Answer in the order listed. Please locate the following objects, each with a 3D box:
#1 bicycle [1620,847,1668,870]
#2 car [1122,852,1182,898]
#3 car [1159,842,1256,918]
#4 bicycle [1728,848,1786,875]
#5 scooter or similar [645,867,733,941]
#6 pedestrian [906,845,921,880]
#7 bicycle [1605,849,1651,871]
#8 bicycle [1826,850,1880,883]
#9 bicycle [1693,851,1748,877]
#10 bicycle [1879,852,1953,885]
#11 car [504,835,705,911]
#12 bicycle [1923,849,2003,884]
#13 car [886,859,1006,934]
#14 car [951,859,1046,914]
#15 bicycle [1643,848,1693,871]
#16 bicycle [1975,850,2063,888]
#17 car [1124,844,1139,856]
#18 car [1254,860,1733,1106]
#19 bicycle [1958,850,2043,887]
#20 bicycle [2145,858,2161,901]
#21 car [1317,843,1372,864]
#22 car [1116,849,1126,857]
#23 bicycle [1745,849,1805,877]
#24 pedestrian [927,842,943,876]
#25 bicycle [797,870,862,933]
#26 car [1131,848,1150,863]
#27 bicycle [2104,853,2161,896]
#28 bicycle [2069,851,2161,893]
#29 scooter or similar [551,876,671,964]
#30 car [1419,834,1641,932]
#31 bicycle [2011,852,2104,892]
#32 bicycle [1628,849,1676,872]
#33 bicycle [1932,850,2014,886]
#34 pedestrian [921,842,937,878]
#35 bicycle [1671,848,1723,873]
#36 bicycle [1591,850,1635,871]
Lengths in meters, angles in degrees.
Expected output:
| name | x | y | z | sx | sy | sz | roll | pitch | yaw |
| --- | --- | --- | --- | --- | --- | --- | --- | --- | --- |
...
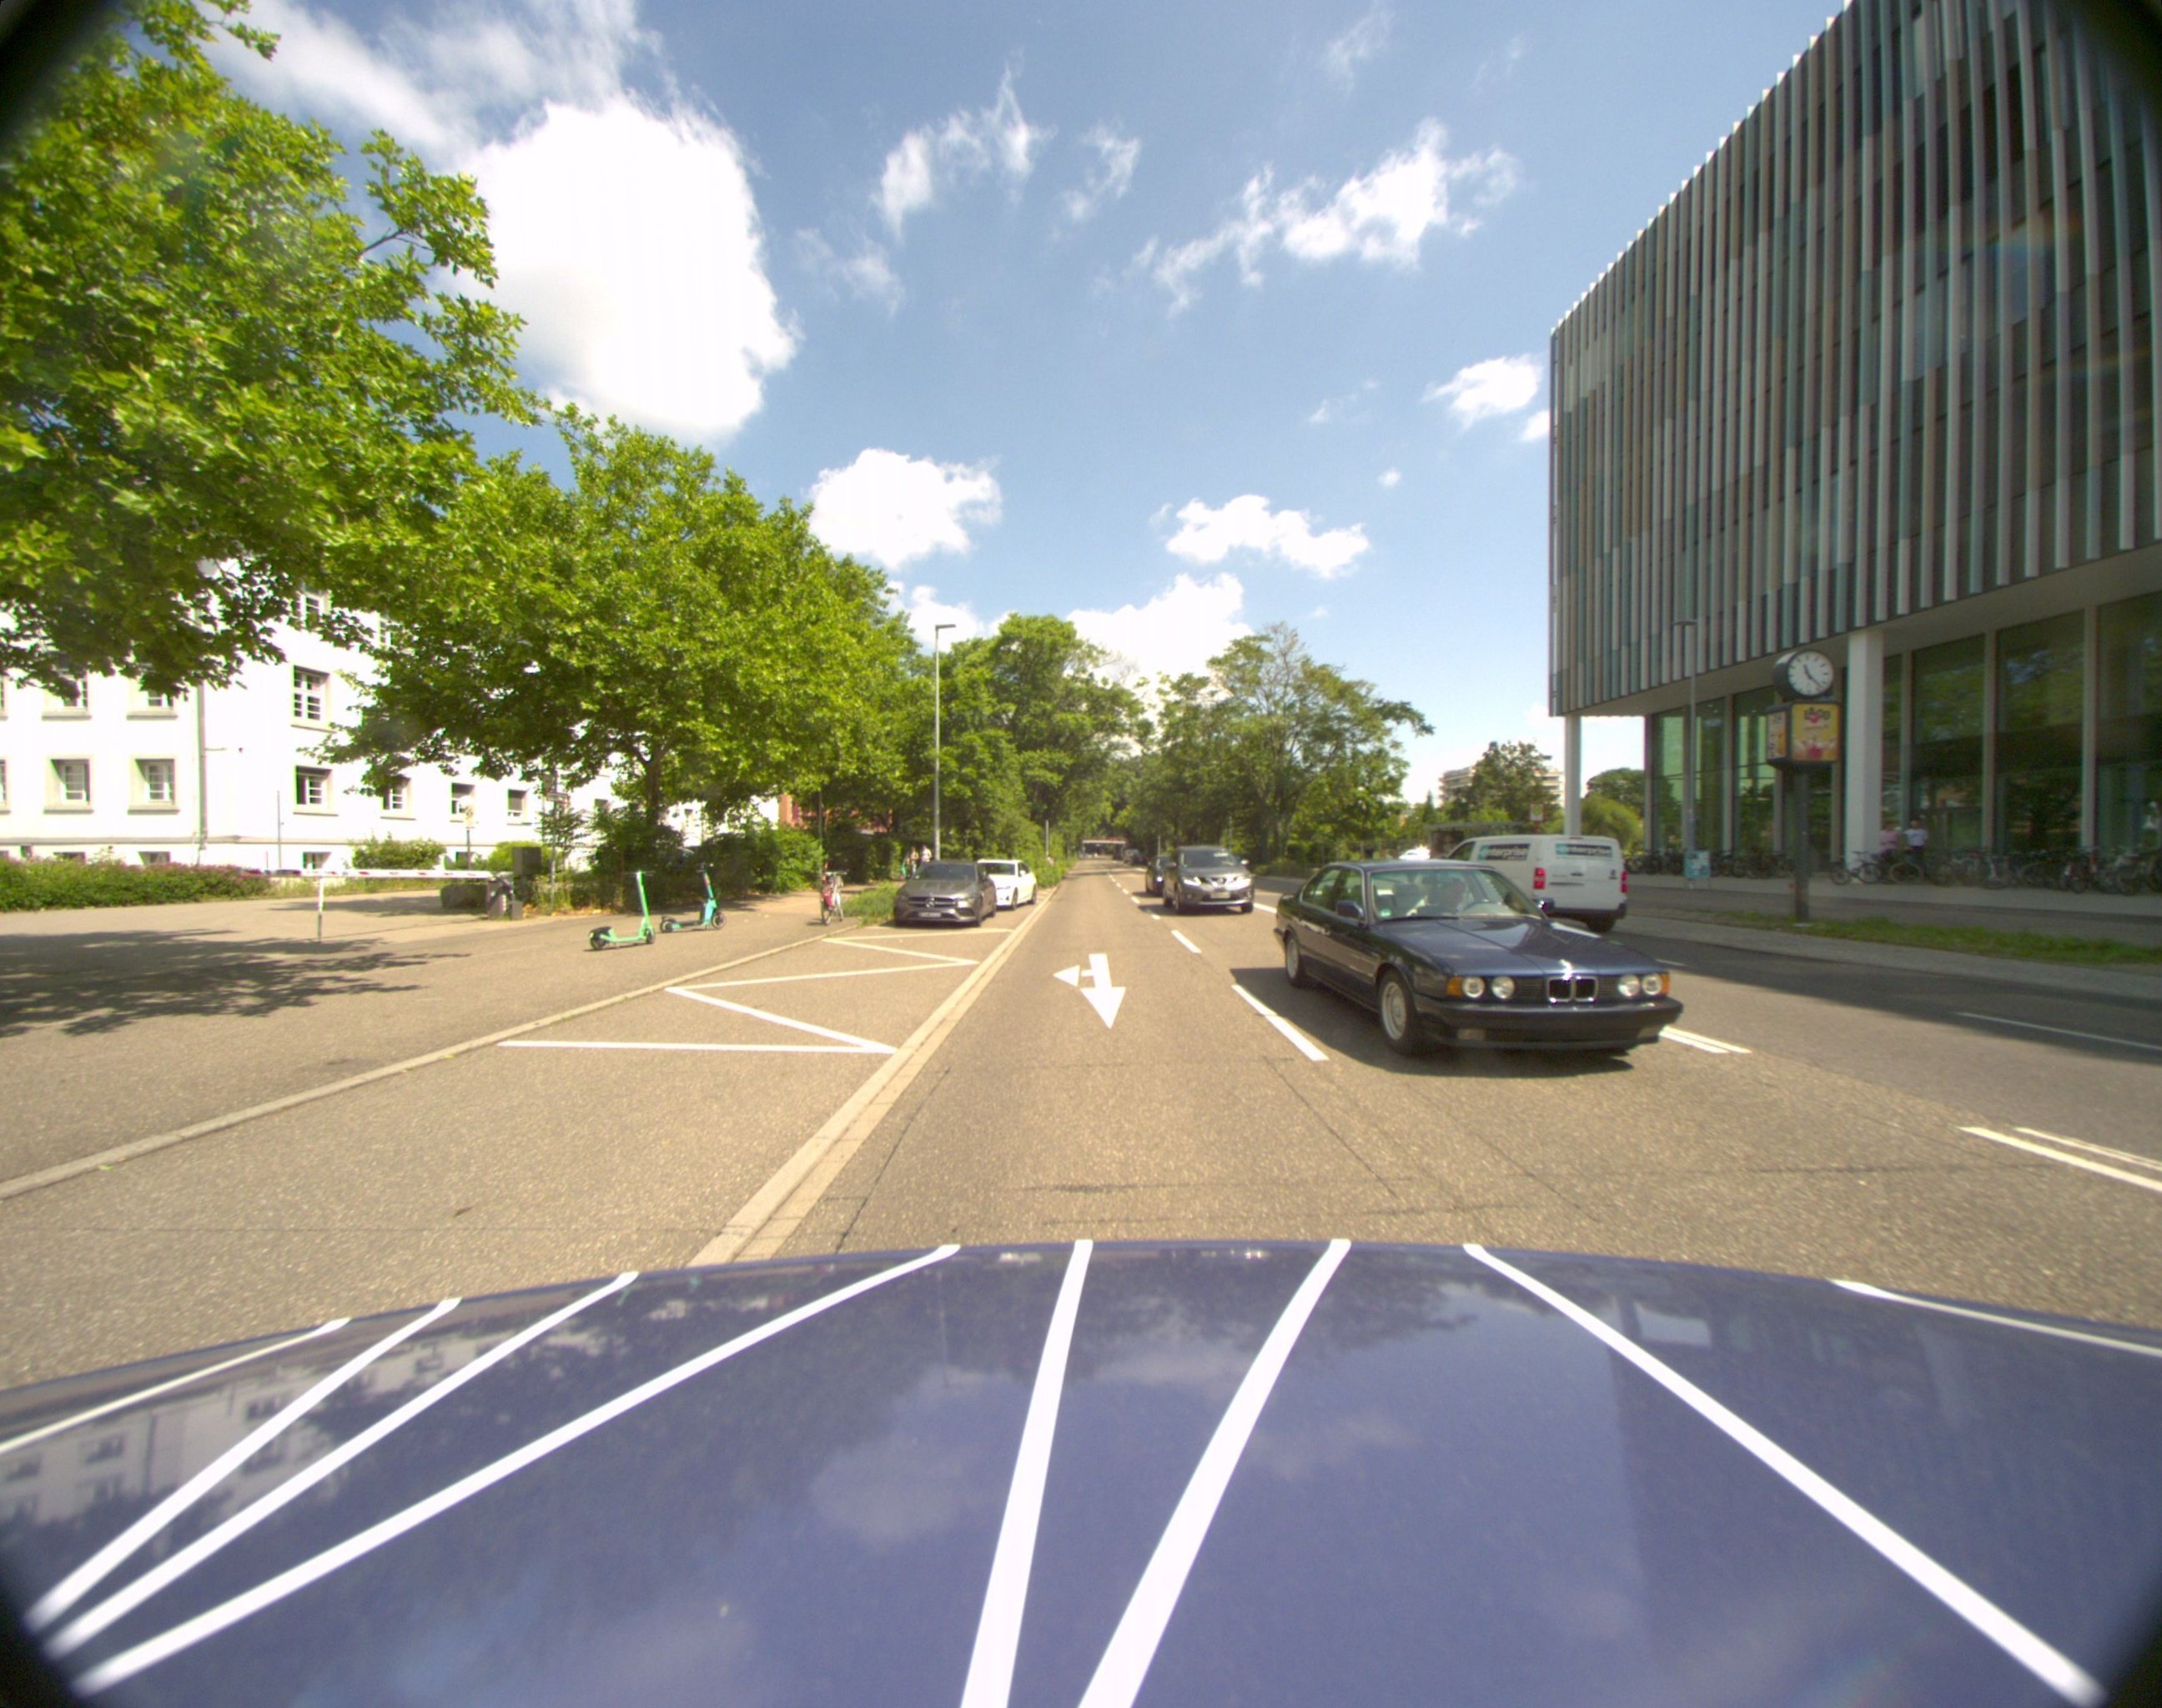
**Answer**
| name | x | y | z | sx | sy | sz | roll | pitch | yaw |
| --- | --- | --- | --- | --- | --- | --- | --- | --- | --- |
| bicycle | 25.398 | 0.212 | 34.284 | 1.784 | 0.950 | 0.433 | -2 | 1 | 0 |
| car | 2.617 | 0.687 | 27.138 | 1.828 | 1.407 | 4.193 | -3 | 0 | 9 |
| car | 3.119 | 0.568 | 19.571 | 1.823 | 1.669 | 4.478 | -2 | 0 | 2 |
| bicycle | 25.611 | 0.268 | 28.806 | 1.784 | 0.950 | 0.433 | -2 | 1 | 0 |
| scooter or similar | -6.990 | 0.867 | 13.597 | 0.528 | 1.239 | 1.292 | 1 | 0 | 35 |
| pedestrian | -8.482 | 0.423 | 38.458 | 0.684 | 1.770 | 0.790 | -3 | 1 | -13 |
| bicycle | 25.250 | 0.278 | 35.091 | 1.784 | 0.950 | 0.433 | -2 | 1 | 0 |
| bicycle | 24.187 | 0.377 | 23.808 | 1.547 | 0.950 | 0.373 | -2 | 1 | -11 |
| bicycle | 25.367 | 0.399 | 30.134 | 1.784 | 0.950 | 0.433 | -2 | 1 | 0 |
| bicycle | 25.216 | 0.440 | 22.969 | 1.543 | 0.950 | 0.374 | -2 | 1 | 15 |
| car | -12.539 | 0.470 | 20.233 | 3.998 | 1.772 | 1.999 | -2 | 1 | -2 |
| bicycle | 25.216 | 0.367 | 21.746 | 1.543 | 0.950 | 0.374 | -2 | 1 | 15 |
| car | -2.980 | 0.882 | 17.905 | 1.861 | 1.470 | 4.942 | 1 | 0 | 1 |
| car | -2.385 | 0.901 | 23.261 | 1.741 | 1.442 | 4.945 | 1 | 0 | 7 |
| bicycle | 25.132 | 0.233 | 32.555 | 1.784 | 0.950 | 0.433 | -2 | 1 | 0 |
| bicycle | 24.957 | 0.393 | 20.237 | 1.543 | 0.950 | 0.374 | -2 | 1 | 15 |
| car | 6.933 | -0.539 | 103.572 | 1.897 | 1.502 | 3.829 | -2 | 1 | 6 |
| car | 3.025 | 0.792 | 6.886 | 1.696 | 1.378 | 4.613 | -1 | 0 | -2 |
| bicycle | 25.050 | 0.385 | 20.720 | 1.543 | 0.950 | 0.374 | -2 | 1 | 15 |
| bicycle | 25.013 | 0.553 | 16.986 | 1.543 | 0.950 | 0.374 | -2 | 1 | 15 |
| car | 21.190 | -0.054 | 61.273 | 3.823 | 1.502 | 1.900 | -2 | 1 | 6 |
| car | 7.663 | -0.162 | 146.065 | 1.756 | 1.502 | 3.828 | -2 | 1 | 2 |
| bicycle | 25.259 | 0.316 | 27.674 | 1.784 | 0.950 | 0.433 | -2 | 1 | 0 |
| pedestrian | -7.896 | 0.266 | 41.054 | 0.684 | 1.770 | 0.790 | -2 | 1 | -7 |
| bicycle | -5.226 | 0.945 | 15.917 | 0.639 | 1.183 | 2.119 | 1 | 0 | 0 |
| car | 6.464 | 0.111 | 82.039 | 1.897 | 1.502 | 3.829 | -2 | 1 | 6 |
| bicycle | 24.827 | 0.470 | 17.534 | 1.543 | 0.950 | 0.374 | -2 | 1 | 15 |
| bicycle | 24.847 | 0.425 | 18.186 | 1.543 | 0.950 | 0.374 | -2 | 1 | 15 |
| scooter or similar | -6.875 | 0.925 | 11.208 | 0.529 | 1.162 | 1.576 | 1 | 0 | 14 |
| car | 9.392 | 0.540 | 16.482 | 1.903 | 1.801 | 4.731 | 1 | 0 | -2 |
| bicycle | 24.855 | 0.461 | 19.356 | 1.543 | 0.950 | 0.374 | -2 | 1 | 15 |
| bicycle | 25.283 | 0.268 | 33.627 | 1.784 | 0.950 | 0.433 | -2 | 1 | 0 |
| bicycle | 25.058 | 0.398 | 21.353 | 1.543 | 0.950 | 0.374 | -2 | 1 | 15 |
| pedestrian | -7.718 | 0.306 | 38.534 | 0.684 | 1.770 | 0.790 | -3 | 1 | -15 |
| bicycle | 25.224 | 0.262 | 31.124 | 1.784 | 0.950 | 0.433 | -2 | 1 | 0 |
| bicycle | 25.219 | 0.307 | 36.044 | 1.784 | 0.950 | 0.433 | -2 | 1 | 0 |
